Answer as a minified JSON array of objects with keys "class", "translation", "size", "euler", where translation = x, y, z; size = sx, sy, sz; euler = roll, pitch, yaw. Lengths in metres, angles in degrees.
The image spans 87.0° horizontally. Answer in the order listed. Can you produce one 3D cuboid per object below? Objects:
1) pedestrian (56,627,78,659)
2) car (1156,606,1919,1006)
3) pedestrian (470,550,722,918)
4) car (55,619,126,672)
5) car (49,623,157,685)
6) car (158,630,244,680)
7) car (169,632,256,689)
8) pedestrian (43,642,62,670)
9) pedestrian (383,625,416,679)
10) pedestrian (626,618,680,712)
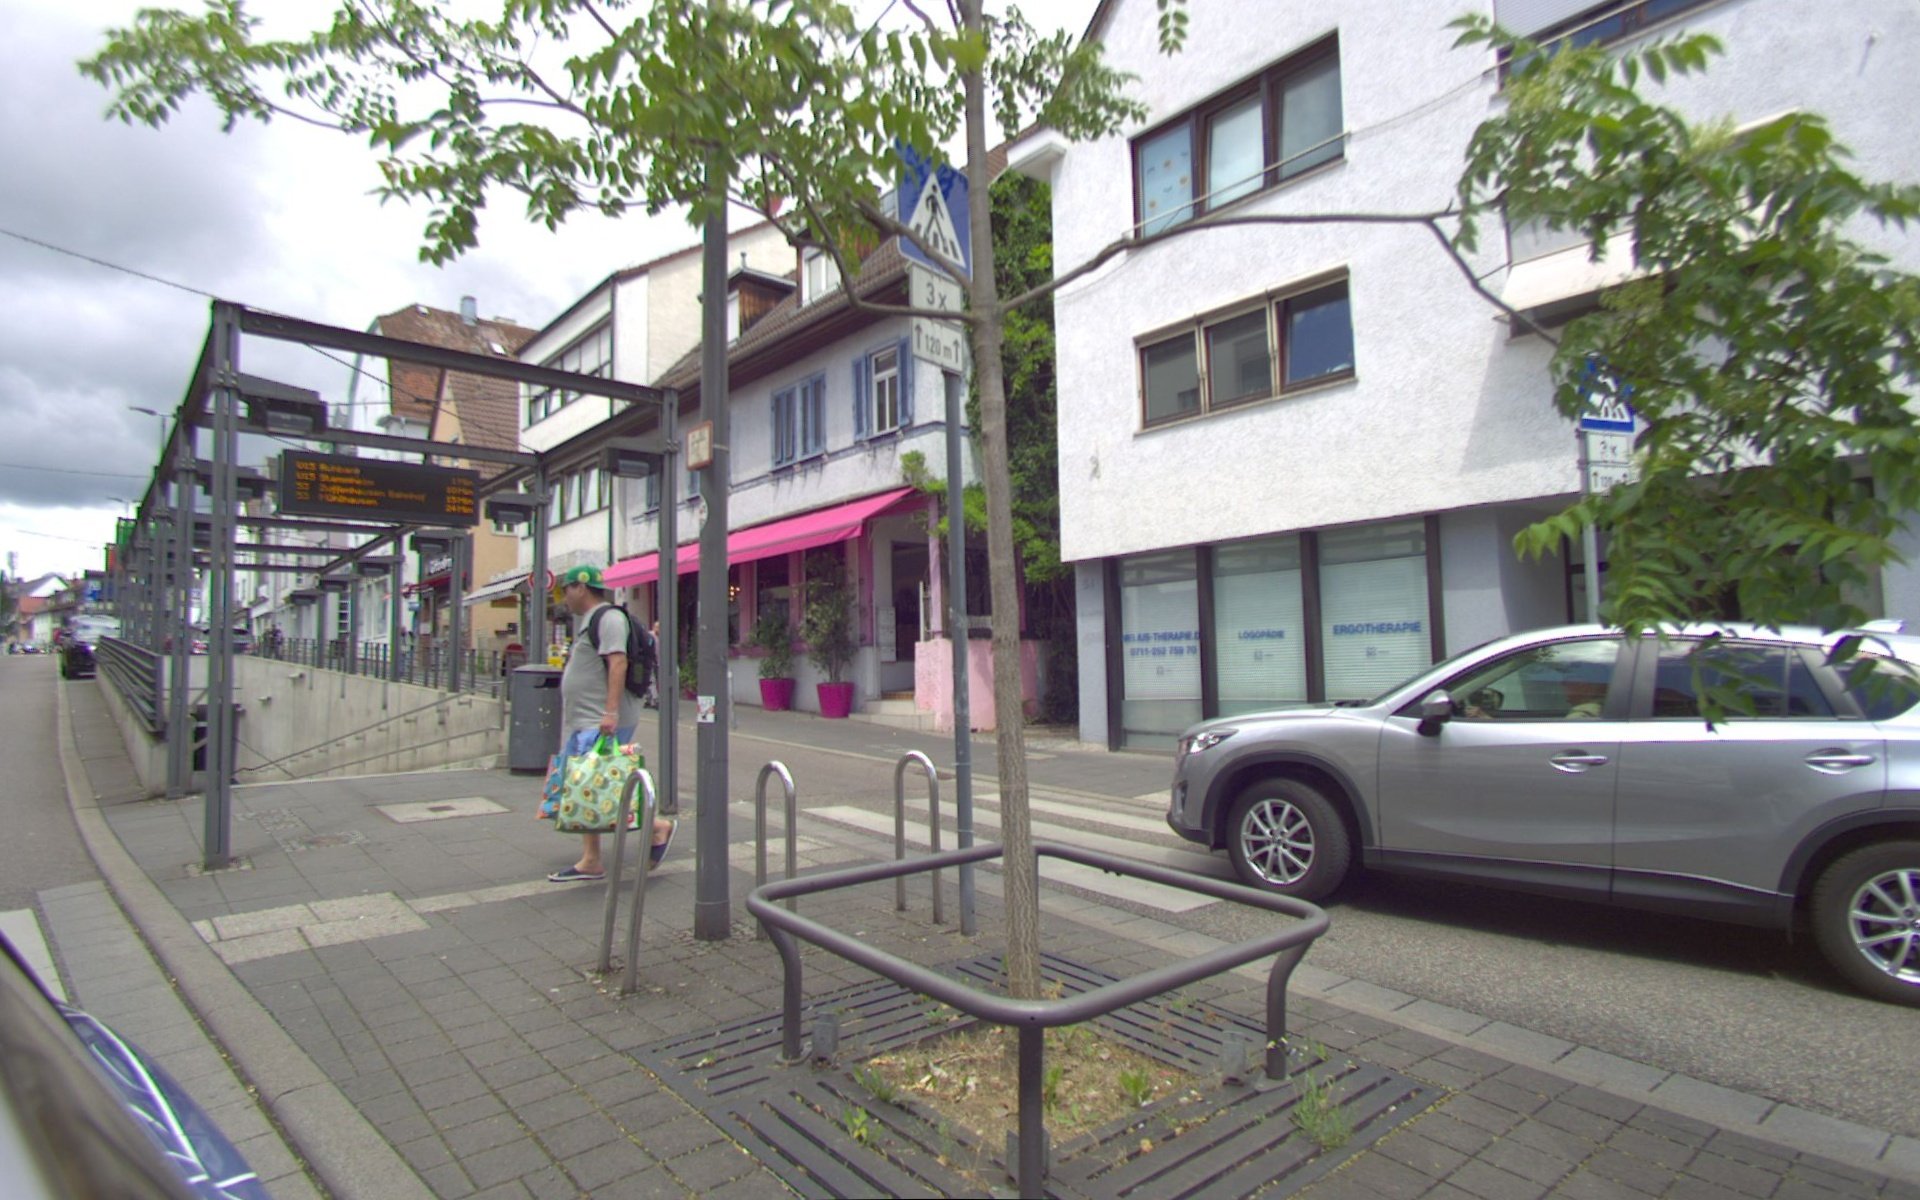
[{"class":"pedestrian","translation":[-50.134,2.431,56.824],"size":[0.851,1.788,0.751],"euler":[-2,-4,41]},{"class":"car","translation":[3.499,0.903,5.620],"size":[4.343,1.633,1.947],"euler":[-1,-3,34]},{"class":"pedestrian","translation":[-2.024,0.683,5.656],"size":[0.920,1.801,0.974],"euler":[-2,-4,43]},{"class":"car","translation":[-28.007,1.463,32.564],"size":[1.554,1.622,3.537],"euler":[3,-4,-42]},{"class":"car","translation":[-23.853,1.456,28.110],"size":[1.970,1.578,4.434],"euler":[1,-2,-44]},{"class":"car","translation":[-26.770,1.886,35.644],"size":[1.969,1.601,4.499],"euler":[1,-2,-43]},{"class":"car","translation":[-22.367,1.747,30.220],"size":[1.678,1.559,3.903],"euler":[1,-2,-43]},{"class":"pedestrian","translation":[-50.002,3.086,55.773],"size":[0.705,1.540,0.654],"euler":[-2,-4,41]},{"class":"pedestrian","translation":[-18.174,1.696,32.805],"size":[0.737,1.727,0.665],"euler":[3,-4,-42]},{"class":"pedestrian","translation":[-5.948,1.249,19.595],"size":[0.685,1.753,0.826],"euler":[3,-4,-41]}]
